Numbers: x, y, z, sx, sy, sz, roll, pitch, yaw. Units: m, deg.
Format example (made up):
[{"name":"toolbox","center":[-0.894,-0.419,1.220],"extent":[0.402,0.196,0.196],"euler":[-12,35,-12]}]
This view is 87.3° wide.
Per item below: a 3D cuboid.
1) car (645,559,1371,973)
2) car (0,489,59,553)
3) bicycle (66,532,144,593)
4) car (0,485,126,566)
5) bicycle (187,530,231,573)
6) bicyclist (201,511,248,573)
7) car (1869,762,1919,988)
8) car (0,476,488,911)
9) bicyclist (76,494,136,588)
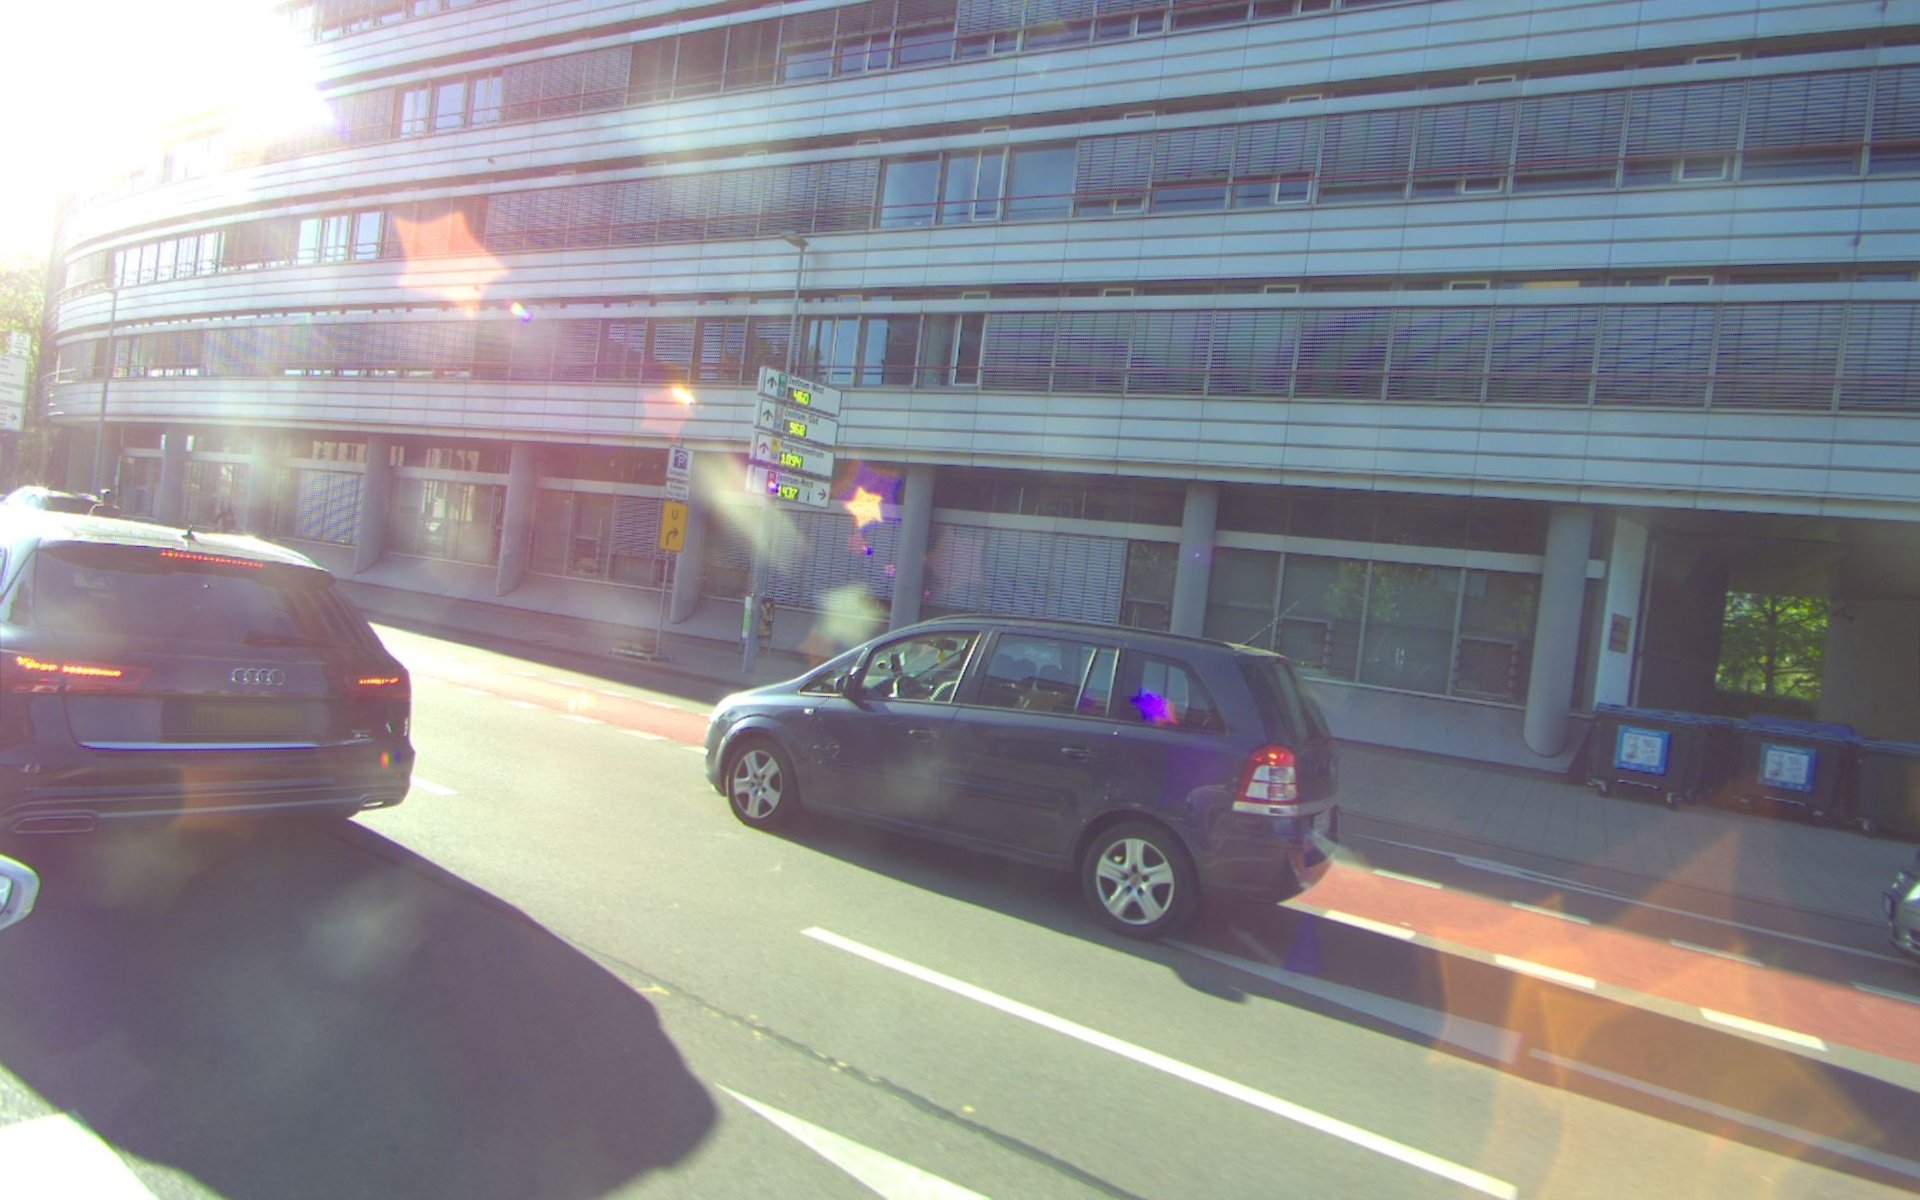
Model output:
[{"name":"car","center":[0.181,0.816,6.666],"extent":[4.387,1.649,1.691],"euler":[7,0,30]},{"name":"car","center":[-28.730,-2.491,29.908],"extent":[3.937,1.671,1.994],"euler":[7,0,35]},{"name":"bicycle","center":[-17.512,-0.783,20.585],"extent":[2.290,1.010,0.492],"euler":[7,1,32]},{"name":"car","center":[-24.958,-2.077,27.374],"extent":[4.255,1.771,1.997],"euler":[7,0,29]},{"name":"bicycle","center":[-21.141,-1.362,28.305],"extent":[1.676,1.072,0.503],"euler":[6,2,37]},{"name":"bicyclist","center":[-21.007,-1.665,28.718],"extent":[0.975,1.638,0.684],"euler":[7,1,35]},{"name":"car","center":[8.469,2.099,5.909],"extent":[4.424,1.447,1.751],"euler":[7,-2,40]},{"name":"car","center":[-4.752,0.203,5.354],"extent":[4.422,1.509,1.815],"euler":[7,-2,32]},{"name":"bicyclist","center":[-17.434,-1.204,20.532],"extent":[0.849,1.813,0.577],"euler":[7,1,32]}]
